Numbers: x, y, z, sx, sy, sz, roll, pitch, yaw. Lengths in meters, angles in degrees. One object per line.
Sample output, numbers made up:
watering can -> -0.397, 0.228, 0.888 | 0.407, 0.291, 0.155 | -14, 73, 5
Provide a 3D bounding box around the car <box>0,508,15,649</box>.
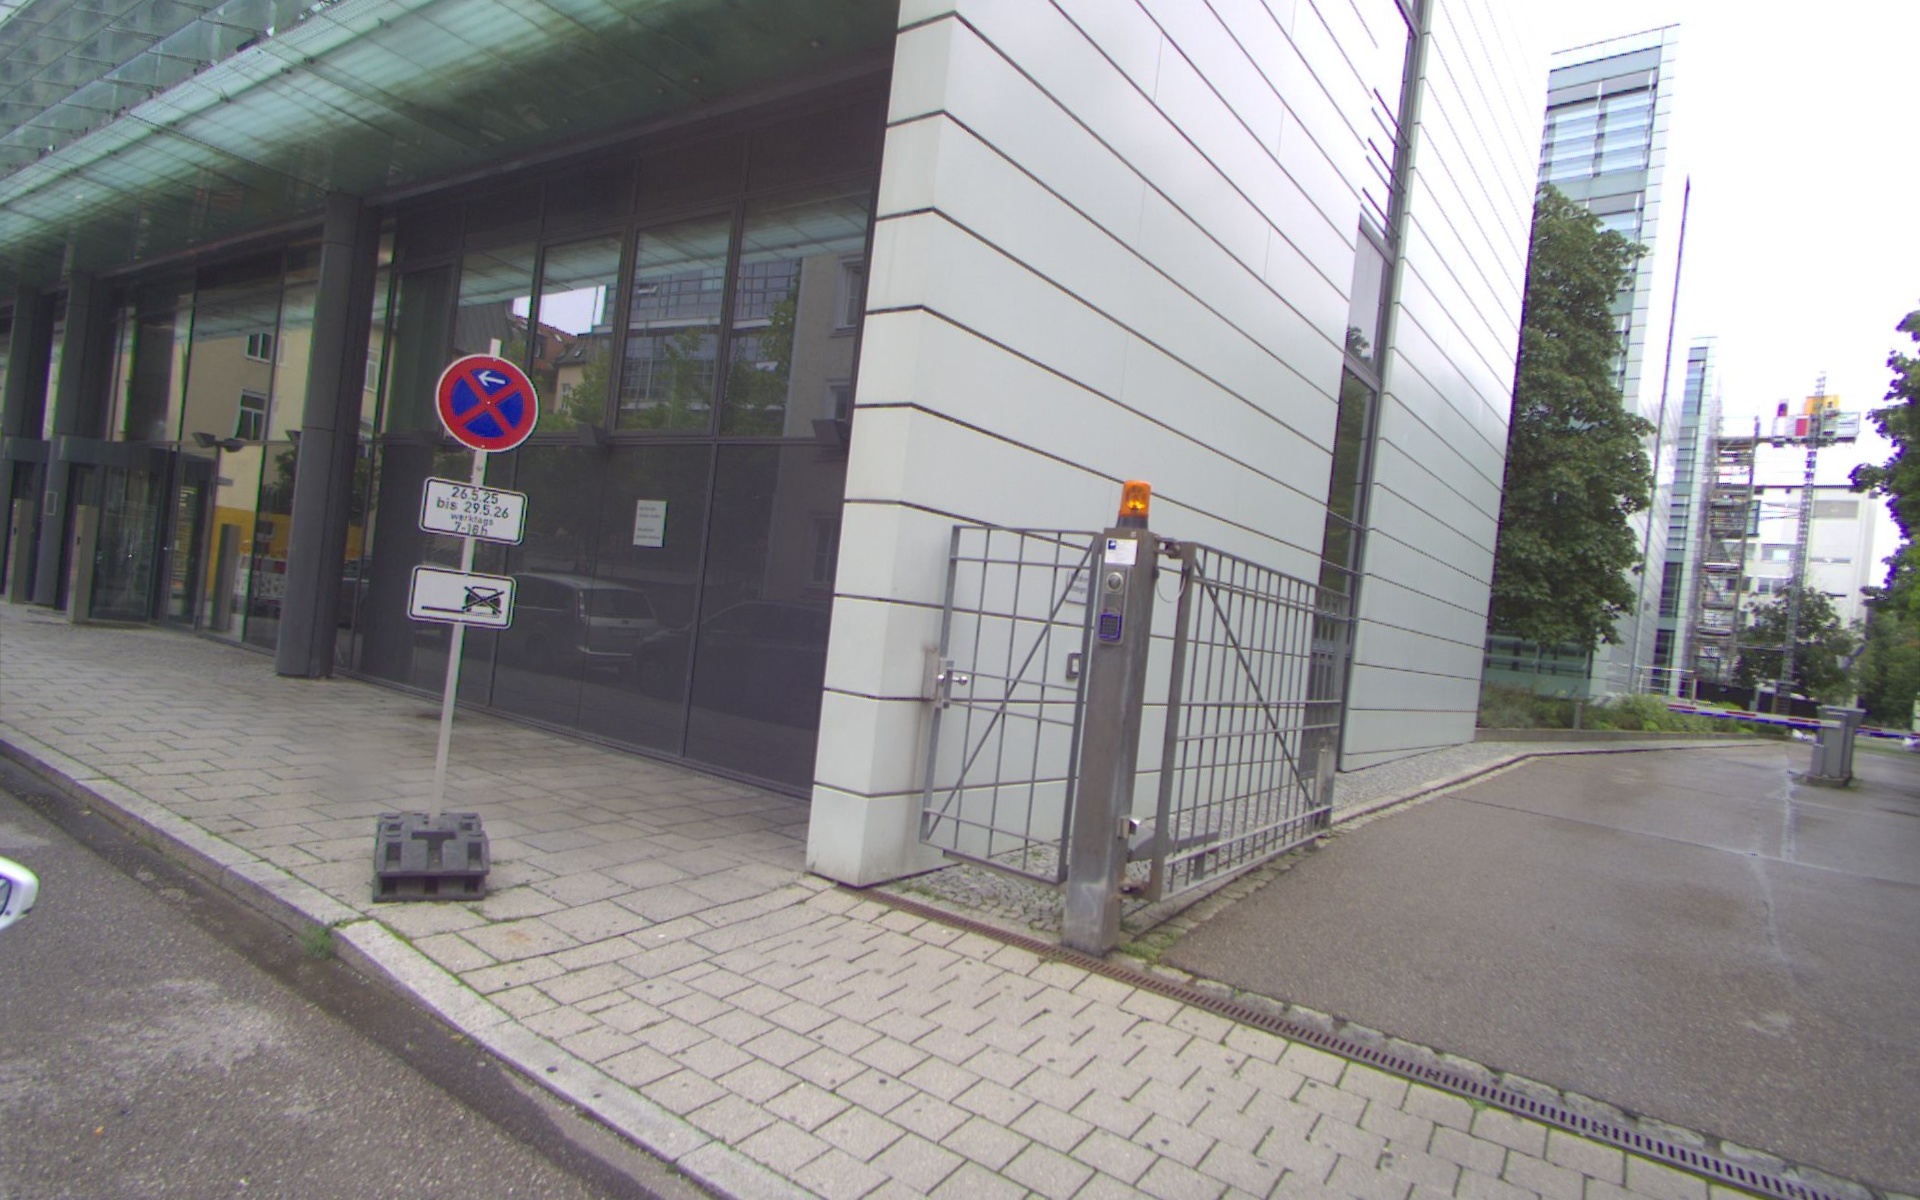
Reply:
car -> -7.183, 0.003, 5.648 | 4.259, 1.449, 1.710 | 6, -1, 33
